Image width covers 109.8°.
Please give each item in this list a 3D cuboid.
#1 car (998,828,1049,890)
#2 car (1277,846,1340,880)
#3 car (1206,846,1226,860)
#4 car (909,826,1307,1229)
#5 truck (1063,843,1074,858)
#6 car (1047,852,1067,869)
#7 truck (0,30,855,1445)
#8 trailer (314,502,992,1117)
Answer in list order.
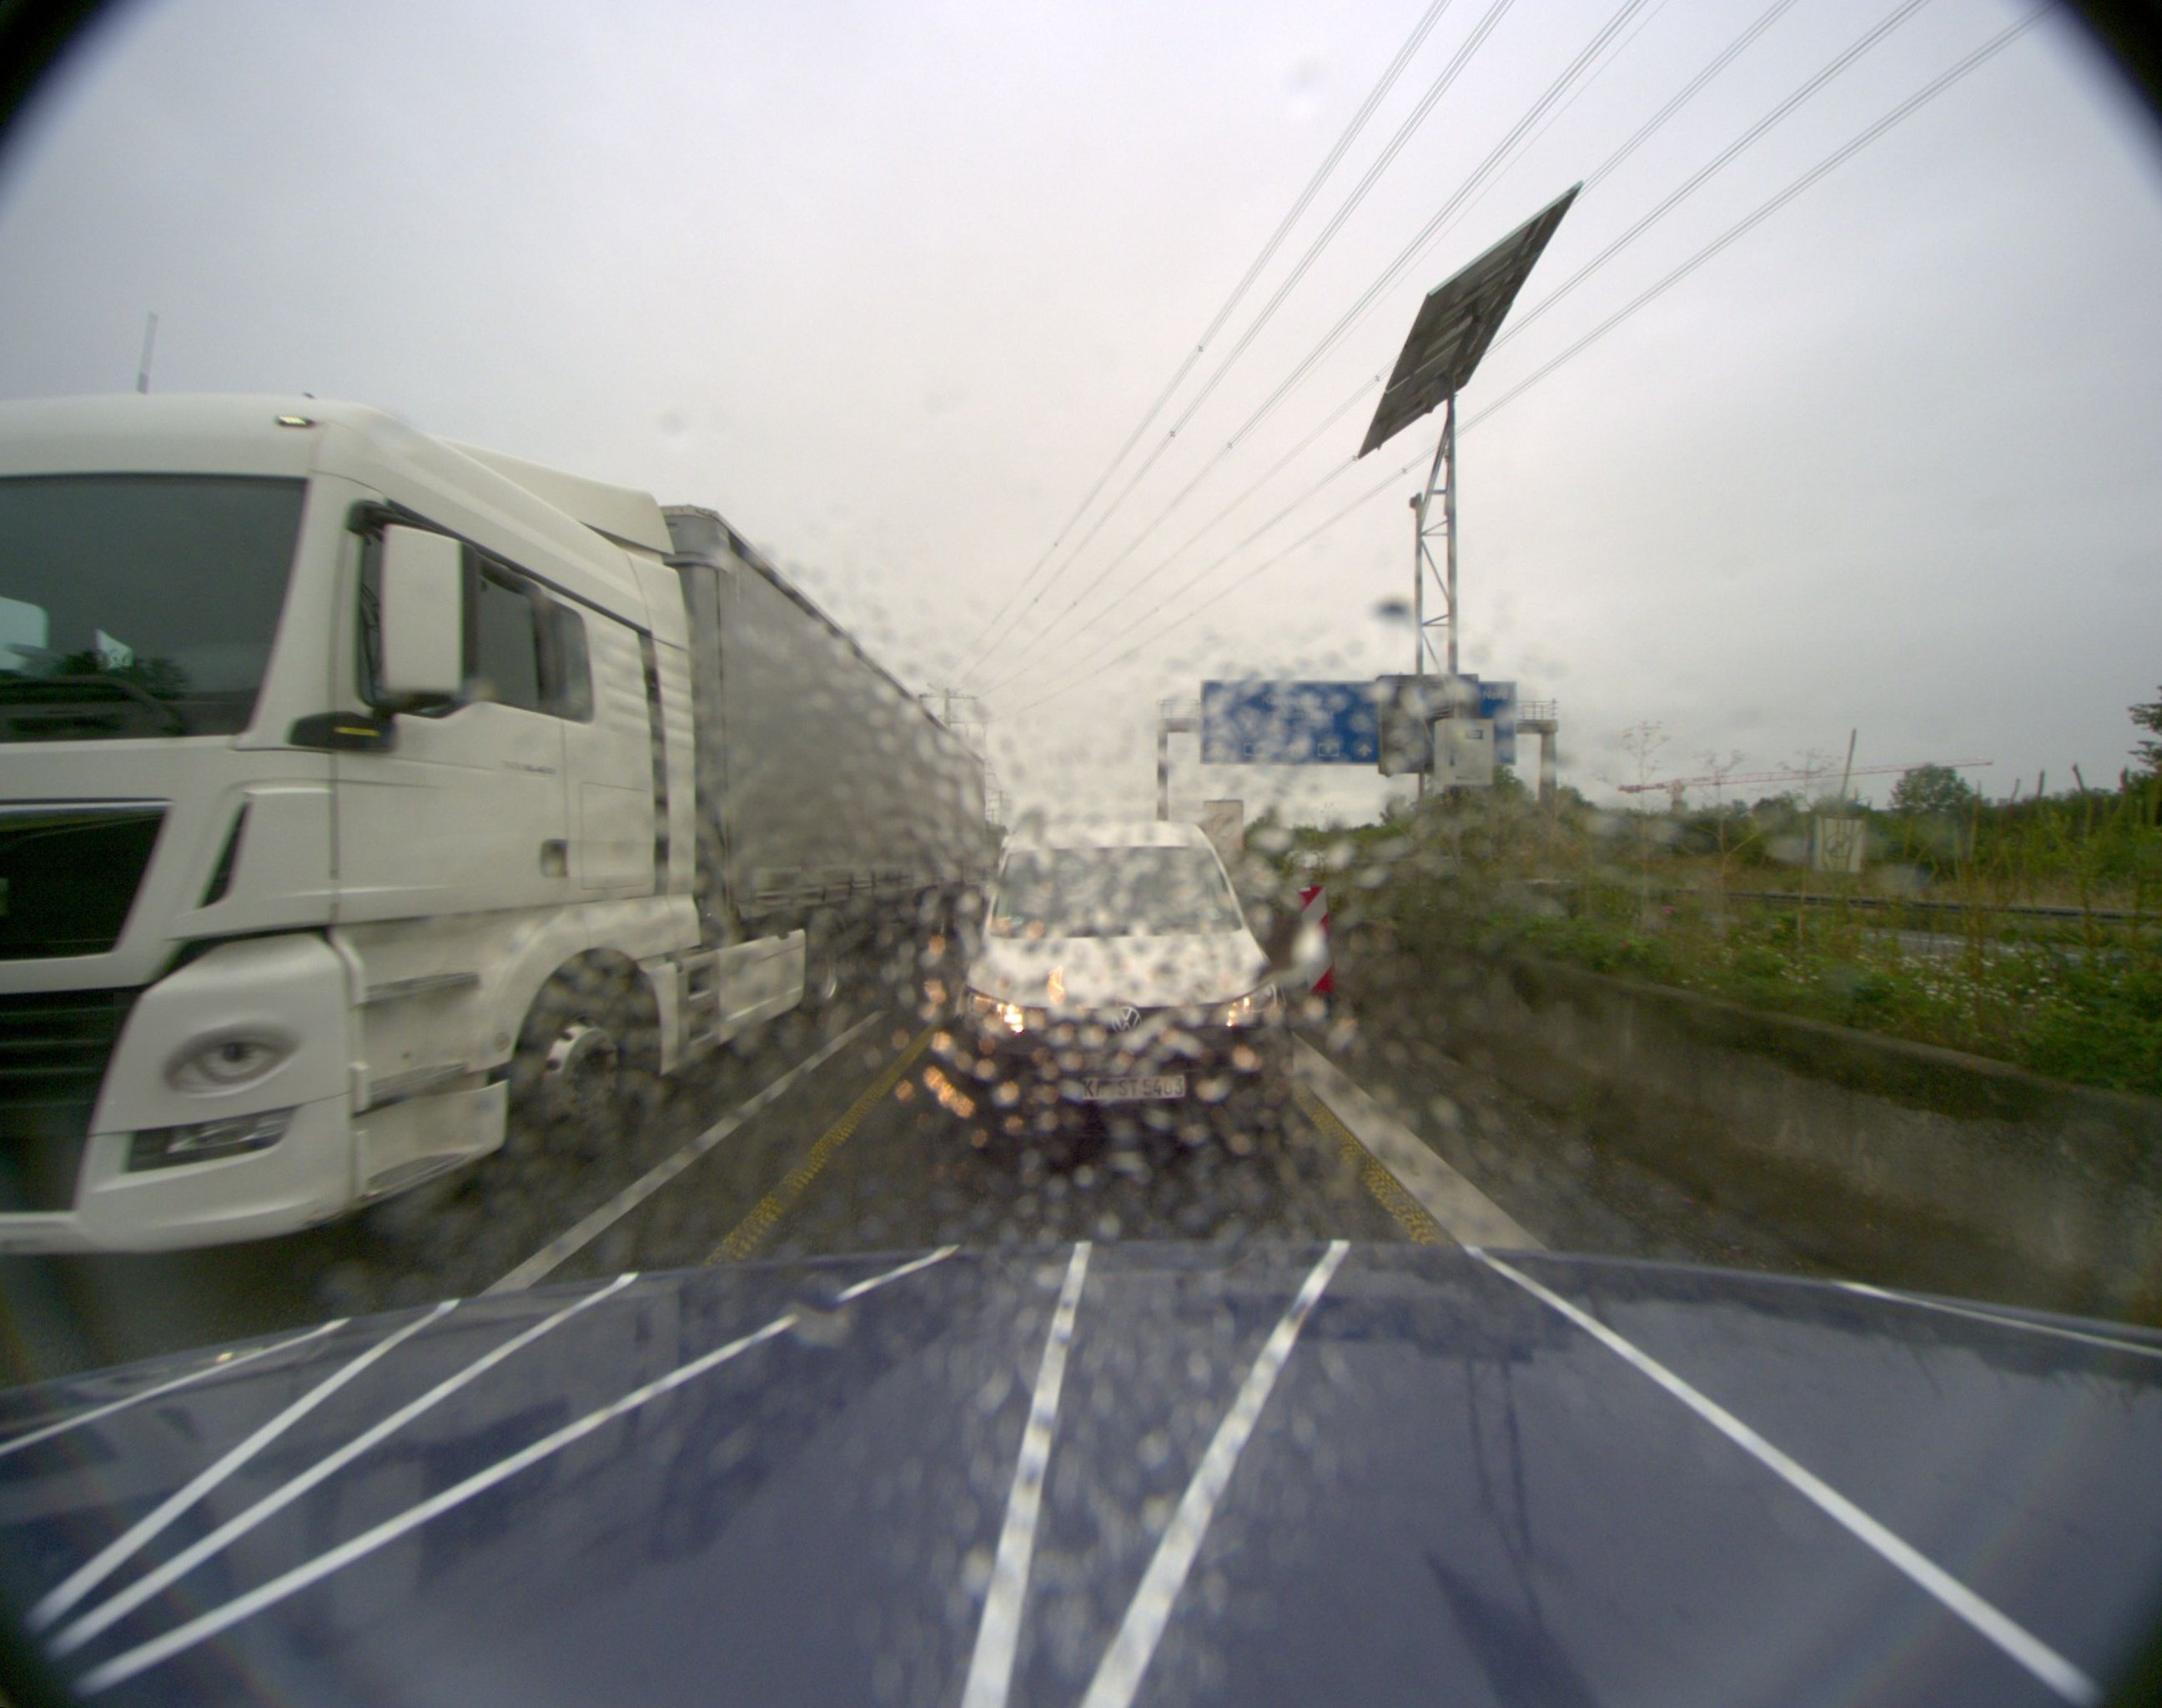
[{"bbox_3d":[-2.706,0.231,37.039,1.998,2.766,5.756,-1,0,0],"label":"car"},{"bbox_3d":[12.352,0.465,41.586,1.998,1.716,5.059,-1,0,1],"label":"car"},{"bbox_3d":[19.836,-0.180,111.810,1.998,2.002,5.059,-1,0,1],"label":"car"},{"bbox_3d":[0.152,0.791,5.637,1.768,1.803,4.345,-1,0,1],"label":"car"},{"bbox_3d":[-3.412,-0.964,208.296,2.875,4.007,8.309,-1,0,1],"label":"truck"},{"bbox_3d":[-2.227,0.614,71.948,1.804,1.523,4.149,-1,0,-1],"label":"car"},{"bbox_3d":[-3.808,-0.298,5.077,2.713,4.114,5.690,-1,0,1],"label":"truck"},{"bbox_3d":[-3.706,-0.310,12.043,2.713,4.122,13.731,-1,0,1],"label":"trailer"}]
